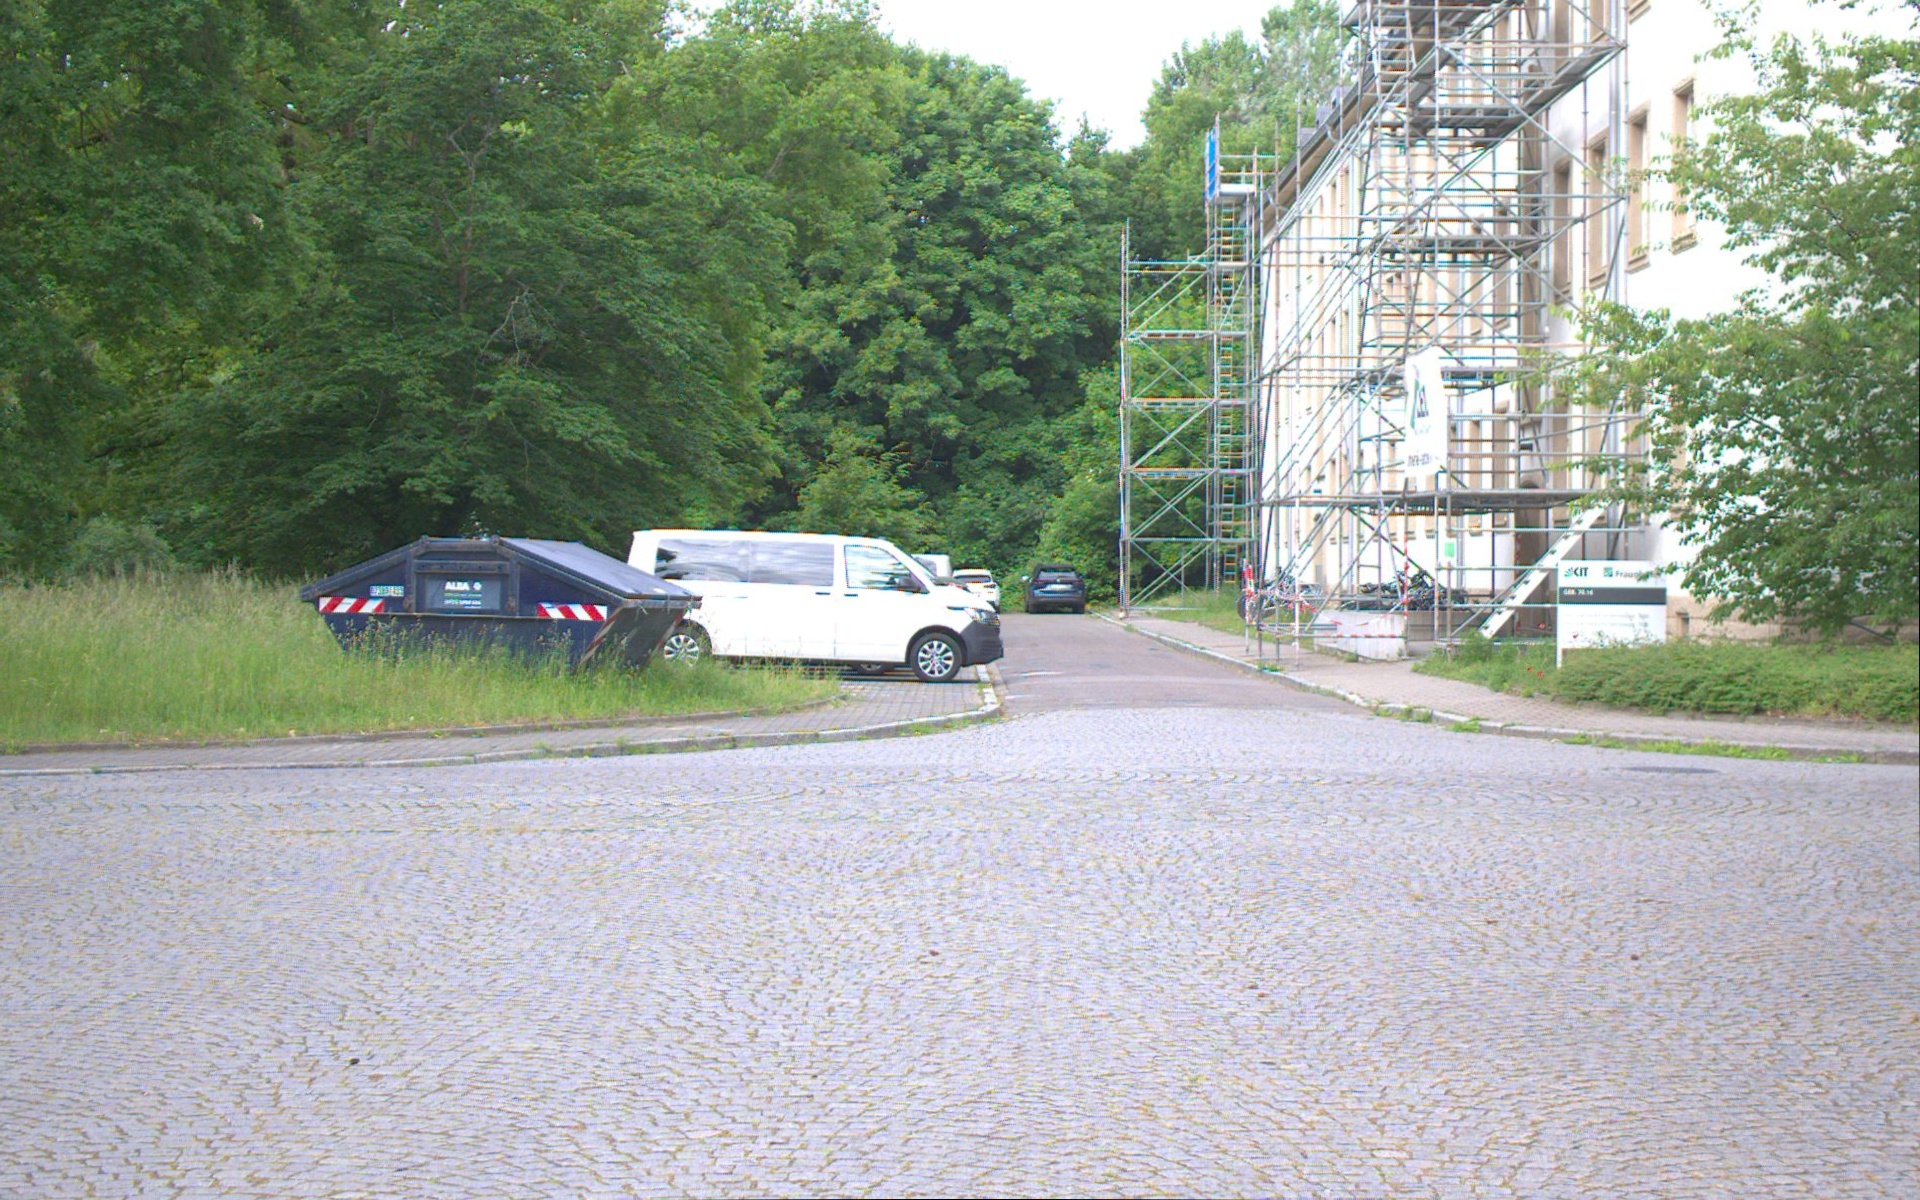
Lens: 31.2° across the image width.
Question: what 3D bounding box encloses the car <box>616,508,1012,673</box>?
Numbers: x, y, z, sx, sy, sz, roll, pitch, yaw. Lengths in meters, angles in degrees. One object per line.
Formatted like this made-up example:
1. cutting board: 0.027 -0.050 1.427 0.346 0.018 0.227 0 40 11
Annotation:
1. car: -1.972 -0.135 46.682 5.234 2.160 2.000 0 1 -2

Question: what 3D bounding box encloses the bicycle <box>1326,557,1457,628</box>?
1. bicycle: 7.712 -0.141 61.505 2.240 1.250 0.777 0 0 2

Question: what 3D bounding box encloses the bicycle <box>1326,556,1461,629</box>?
1. bicycle: 7.506 -0.135 59.594 2.240 1.250 0.777 0 0 2

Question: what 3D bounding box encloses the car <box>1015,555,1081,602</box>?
1. car: 2.878 -0.703 112.951 1.951 1.516 4.000 0 0 -2

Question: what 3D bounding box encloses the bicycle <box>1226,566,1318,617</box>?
1. bicycle: 7.742 -0.216 85.405 2.240 1.250 0.634 0 0 2

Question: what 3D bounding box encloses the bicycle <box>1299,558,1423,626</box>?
1. bicycle: 7.440 -0.148 63.851 2.240 1.250 0.777 0 0 2

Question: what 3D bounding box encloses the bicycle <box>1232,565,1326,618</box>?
1. bicycle: 7.730 -0.210 83.432 2.240 1.250 0.627 0 0 2

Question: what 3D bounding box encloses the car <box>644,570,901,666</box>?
1. car: -2.794 0.261 51.816 3.788 1.390 2.000 0 0 -1

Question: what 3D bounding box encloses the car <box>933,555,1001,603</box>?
1. car: 0.200 -0.703 112.669 2.118 1.516 4.000 0 0 -1

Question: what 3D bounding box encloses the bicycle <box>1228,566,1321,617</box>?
1. bicycle: 7.738 -0.213 84.560 2.240 1.250 0.698 0 0 2

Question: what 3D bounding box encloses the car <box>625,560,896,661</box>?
1. car: -2.843 0.141 49.282 3.788 1.390 2.000 0 1 -2
